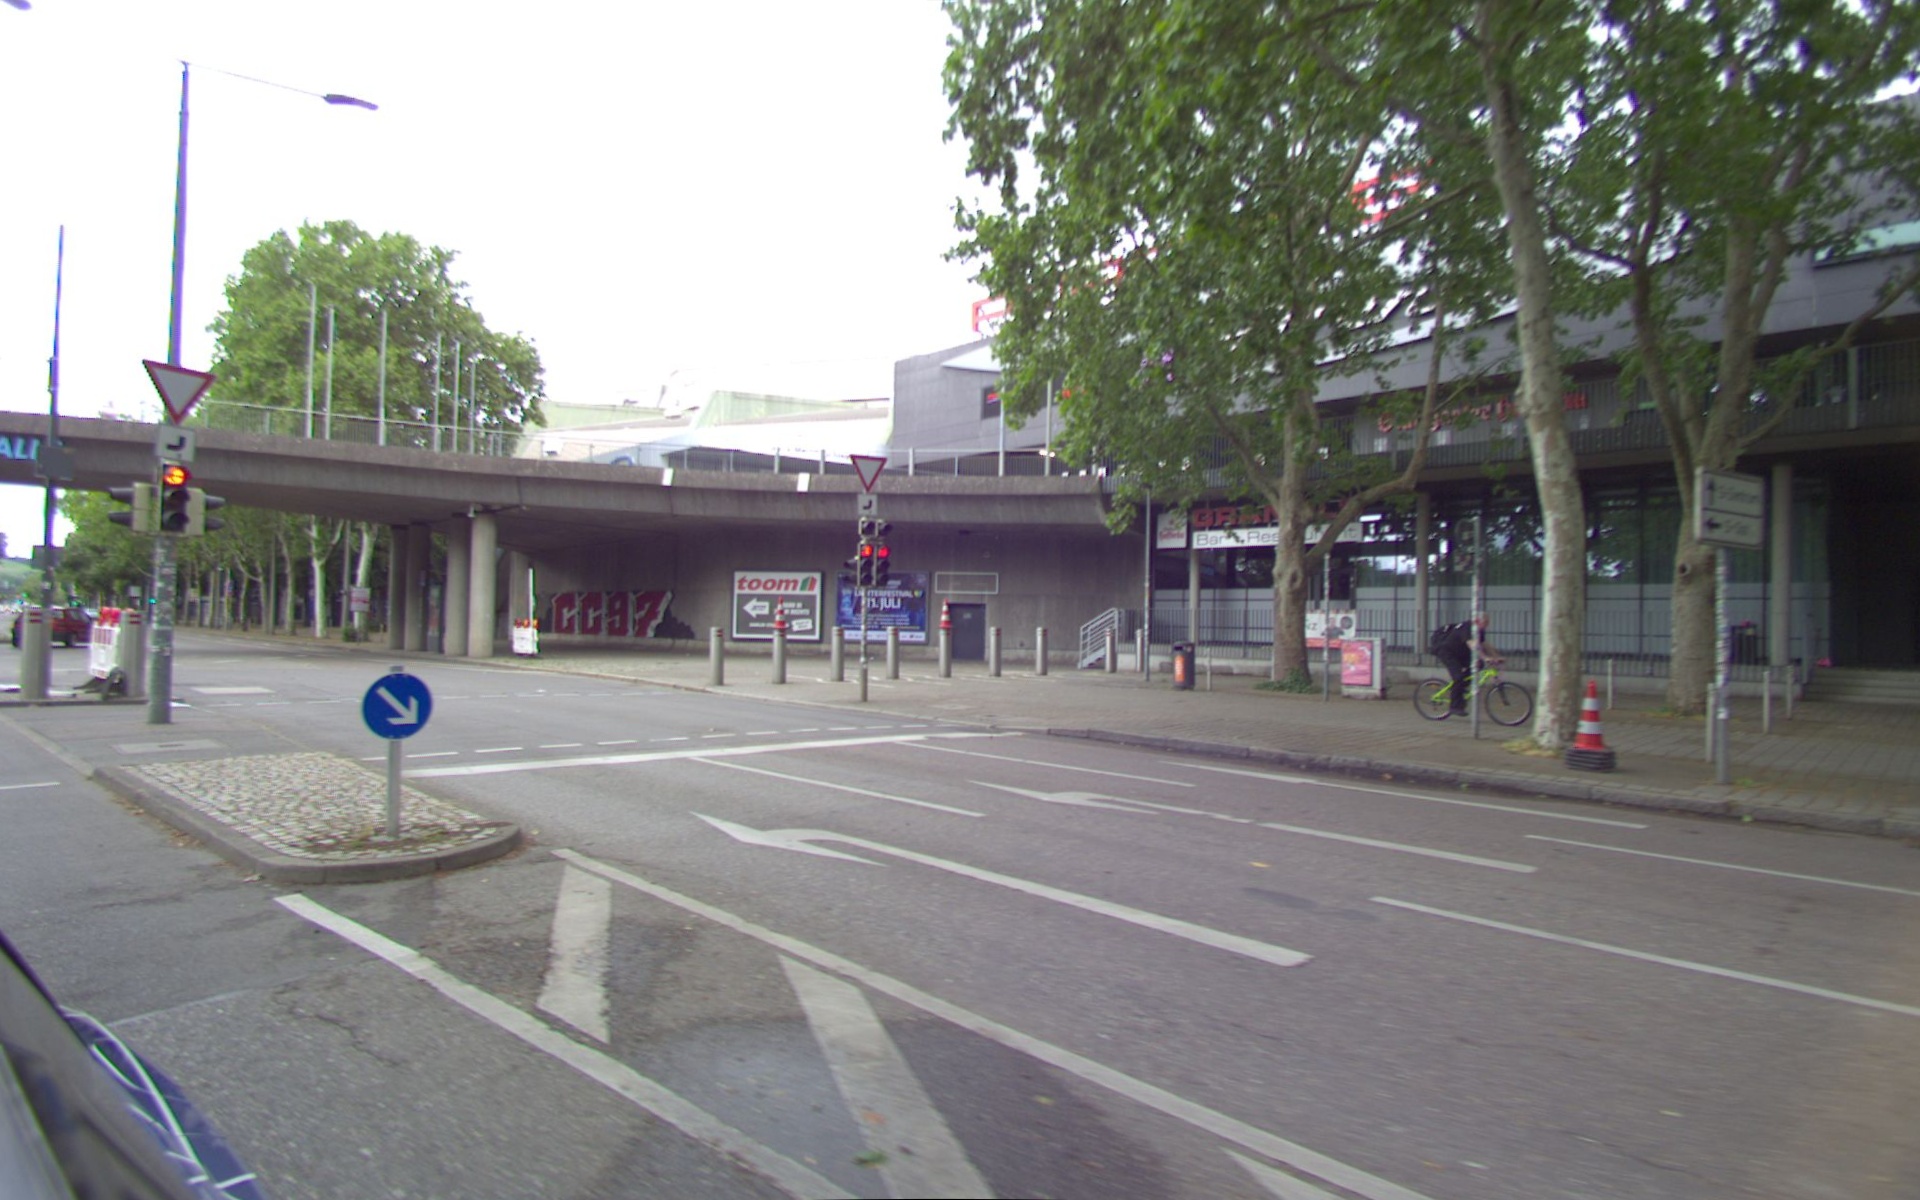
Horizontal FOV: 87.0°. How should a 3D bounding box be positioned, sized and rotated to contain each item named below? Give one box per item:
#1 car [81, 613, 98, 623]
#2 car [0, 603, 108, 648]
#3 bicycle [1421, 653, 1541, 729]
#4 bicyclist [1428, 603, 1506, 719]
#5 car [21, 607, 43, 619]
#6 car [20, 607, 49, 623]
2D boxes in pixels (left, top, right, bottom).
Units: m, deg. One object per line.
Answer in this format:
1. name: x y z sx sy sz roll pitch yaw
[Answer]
1. car: -115.853 2.376 134.617 1.591 1.323 3.400 4 -2 -42
2. car: -31.730 0.875 35.505 1.803 1.462 4.090 3 -2 -26
3. bicycle: 8.024 1.383 15.616 1.538 1.020 0.509 2 -2 44
4. bicyclist: 7.898 0.938 15.775 0.855 1.710 0.756 2 -2 44
5. car: -147.303 2.070 160.653 3.997 1.672 1.973 1 -2 40
6. car: -88.593 1.431 96.893 1.969 1.429 4.005 4 -2 -42
